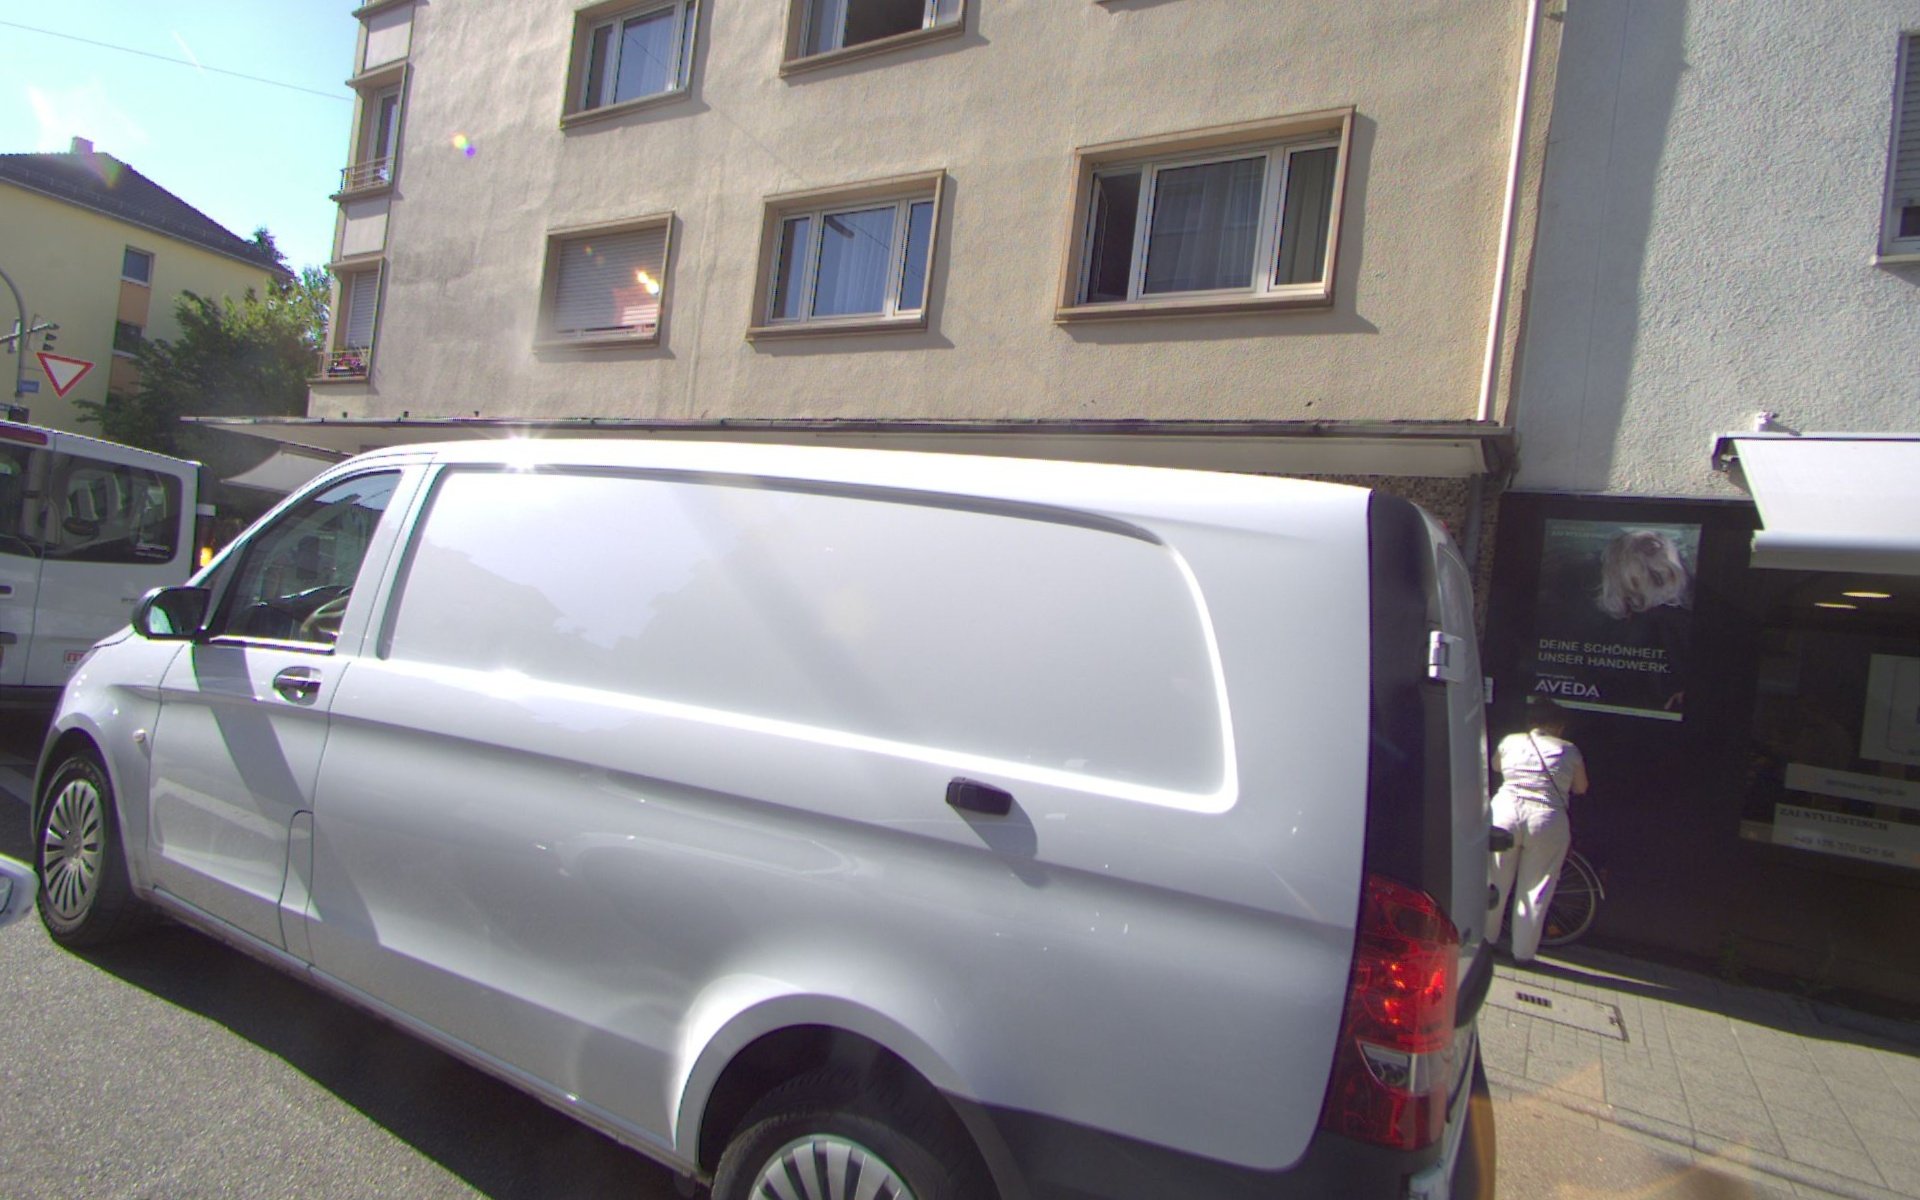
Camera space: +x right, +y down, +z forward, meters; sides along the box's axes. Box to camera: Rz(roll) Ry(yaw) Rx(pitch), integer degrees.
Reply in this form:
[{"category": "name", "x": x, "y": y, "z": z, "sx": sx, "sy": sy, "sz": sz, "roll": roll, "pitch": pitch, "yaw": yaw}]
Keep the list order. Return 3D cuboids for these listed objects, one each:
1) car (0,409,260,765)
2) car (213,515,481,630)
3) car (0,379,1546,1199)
[{"category": "car", "x": -7.319, "y": -0.270, "z": 7.045, "sx": 4.972, "sy": 1.962, "sz": 1.973, "roll": 6, "pitch": -2, "yaw": 32}, {"category": "car", "x": -11.887, "y": -0.467, "z": 19.772, "sx": 1.795, "sy": 1.682, "sz": 3.993, "roll": 7, "pitch": -1, "yaw": 32}, {"category": "car", "x": -0.920, "y": 0.495, "z": 3.322, "sx": 4.751, "sy": 1.832, "sz": 1.972, "roll": 6, "pitch": -1, "yaw": 31}]
